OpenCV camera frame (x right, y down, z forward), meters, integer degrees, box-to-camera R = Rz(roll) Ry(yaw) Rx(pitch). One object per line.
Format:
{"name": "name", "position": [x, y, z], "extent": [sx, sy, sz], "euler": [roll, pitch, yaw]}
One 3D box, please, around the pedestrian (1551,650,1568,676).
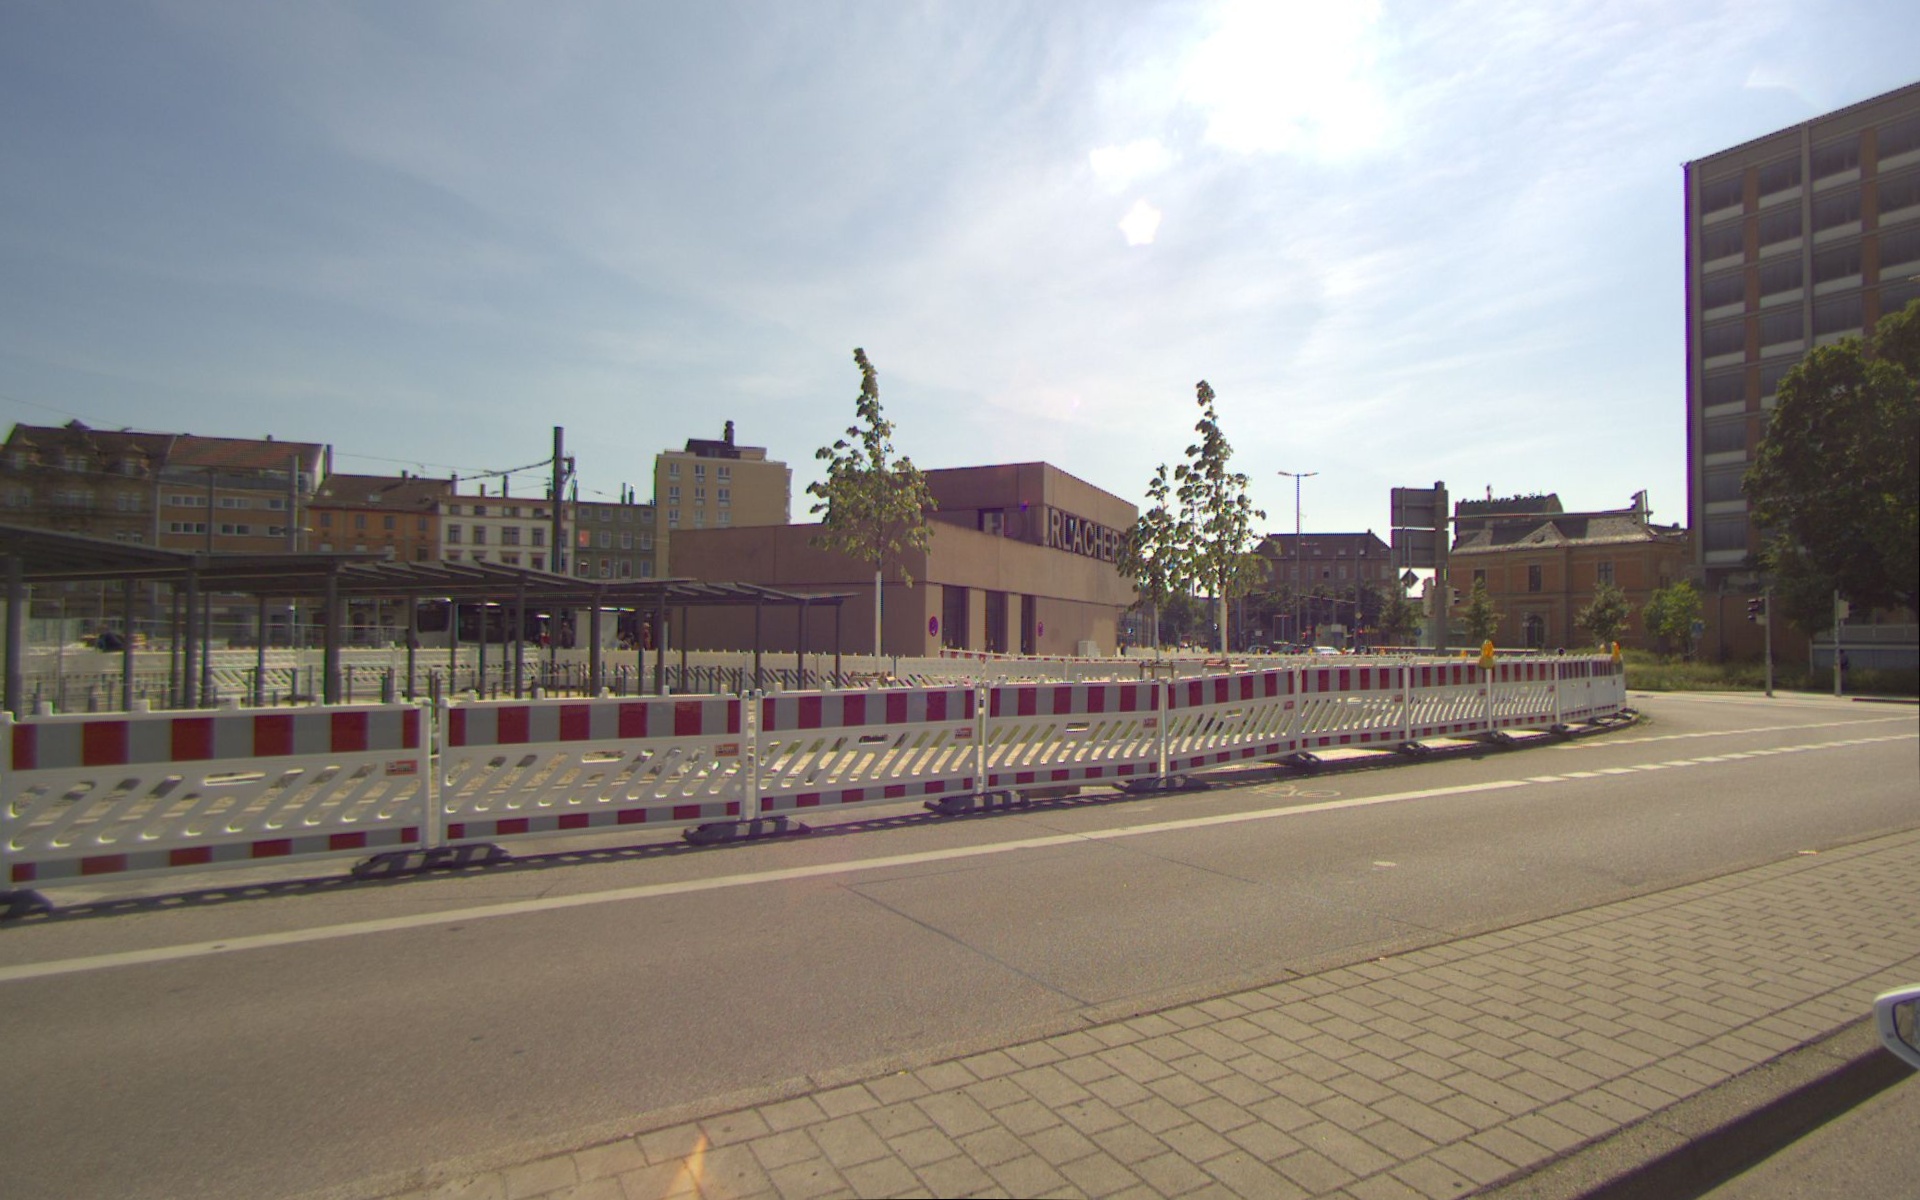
{"name": "pedestrian", "position": [39.820, 4.161, 66.716], "extent": [0.637, 1.683, 0.650], "euler": [2, 0, -3]}

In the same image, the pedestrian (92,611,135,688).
{"name": "pedestrian", "position": [-22.982, 1.347, 27.269], "extent": [0.807, 2.040, 0.684], "euler": [-1, -3, 35]}

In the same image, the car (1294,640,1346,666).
{"name": "car", "position": [26.044, 3.822, 72.725], "extent": [1.963, 1.839, 3.996], "euler": [1, -2, -7]}

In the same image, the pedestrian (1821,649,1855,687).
{"name": "pedestrian", "position": [41.251, 3.208, 47.188], "extent": [0.857, 1.748, 0.799], "euler": [1, -2, -7]}

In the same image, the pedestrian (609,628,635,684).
{"name": "pedestrian", "position": [-9.666, 1.607, 28.726], "extent": [0.415, 1.585, 0.558], "euler": [-1, -2, 22]}

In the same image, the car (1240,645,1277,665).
{"name": "car", "position": [23.818, 4.361, 80.227], "extent": [1.764, 1.530, 4.001], "euler": [1, -2, 1]}
